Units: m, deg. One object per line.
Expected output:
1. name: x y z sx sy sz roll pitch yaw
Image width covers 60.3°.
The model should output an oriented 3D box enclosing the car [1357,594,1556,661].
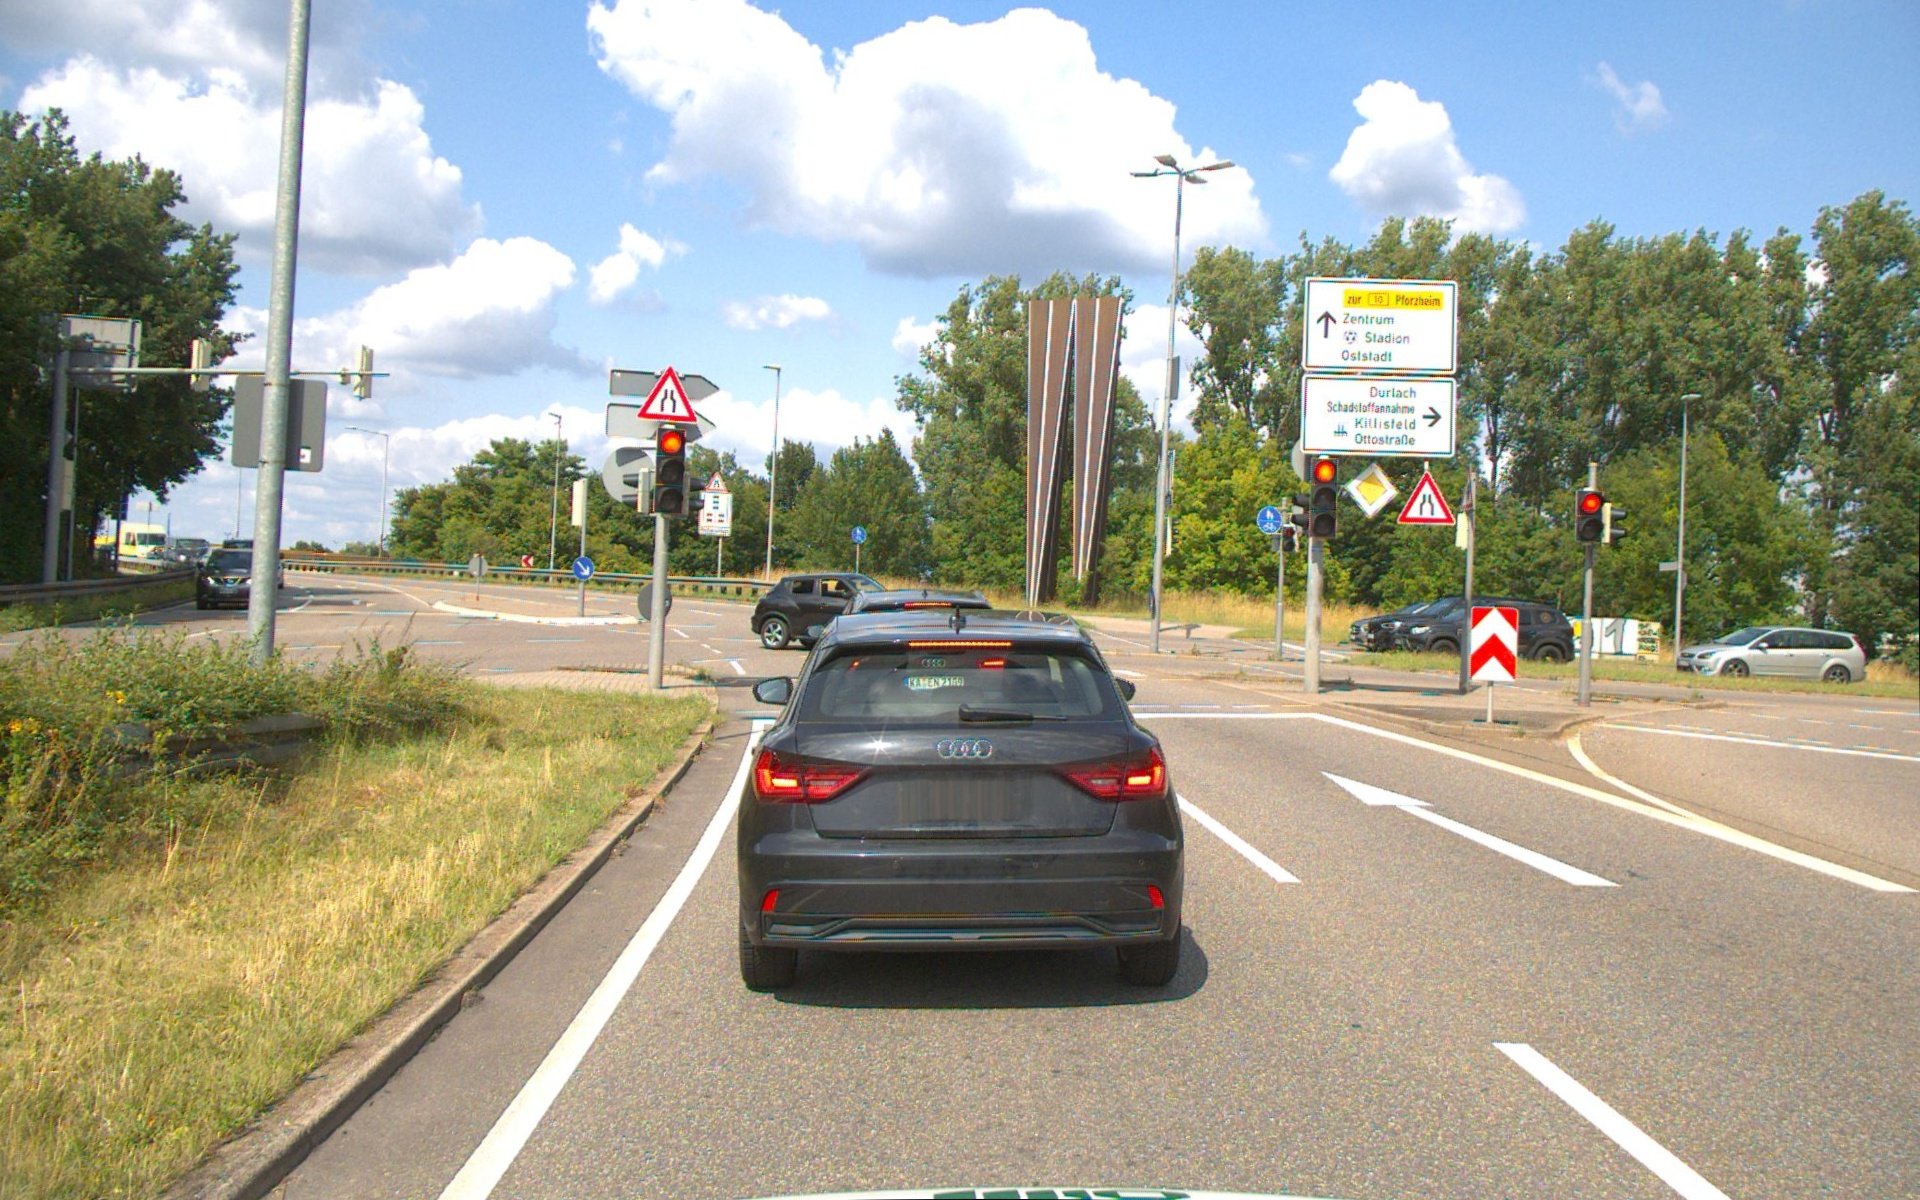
1. car: 13.180 0.716 44.088 4.750 1.572 1.736 2 0 -2

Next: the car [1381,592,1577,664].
1. car: 12.581 0.662 40.225 4.182 1.572 1.736 2 0 -2

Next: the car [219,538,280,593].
1. car: -25.410 -1.229 59.231 1.817 1.833 4.299 2 0 -22

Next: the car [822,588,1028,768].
1. car: -0.445 0.624 15.476 1.692 1.448 3.841 0 1 -5

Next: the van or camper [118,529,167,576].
1. van or camper: -50.436 -2.931 101.956 1.974 2.730 6.788 2 0 -32

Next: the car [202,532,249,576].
1. car: -35.598 -2.230 80.149 1.821 2.013 4.289 2 0 -27

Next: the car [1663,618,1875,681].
1. car: 19.802 1.195 40.569 4.384 1.343 1.735 2 0 -5

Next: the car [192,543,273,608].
1. car: -19.912 -0.635 45.392 1.813 1.646 3.974 2 -1 -21

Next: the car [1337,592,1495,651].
1. car: 13.181 0.601 47.987 4.022 1.522 2.000 2 0 0

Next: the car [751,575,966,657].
1. car: -2.061 0.307 33.733 3.877 1.443 1.953 2 0 22

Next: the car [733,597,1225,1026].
1. car: 0.038 0.721 7.683 1.691 1.429 3.999 0 1 -1

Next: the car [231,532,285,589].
1. car: -28.260 -1.587 66.530 1.819 2.137 4.293 2 0 -25

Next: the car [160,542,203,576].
1. car: -42.118 -2.209 89.468 1.823 1.735 4.286 2 0 -29
